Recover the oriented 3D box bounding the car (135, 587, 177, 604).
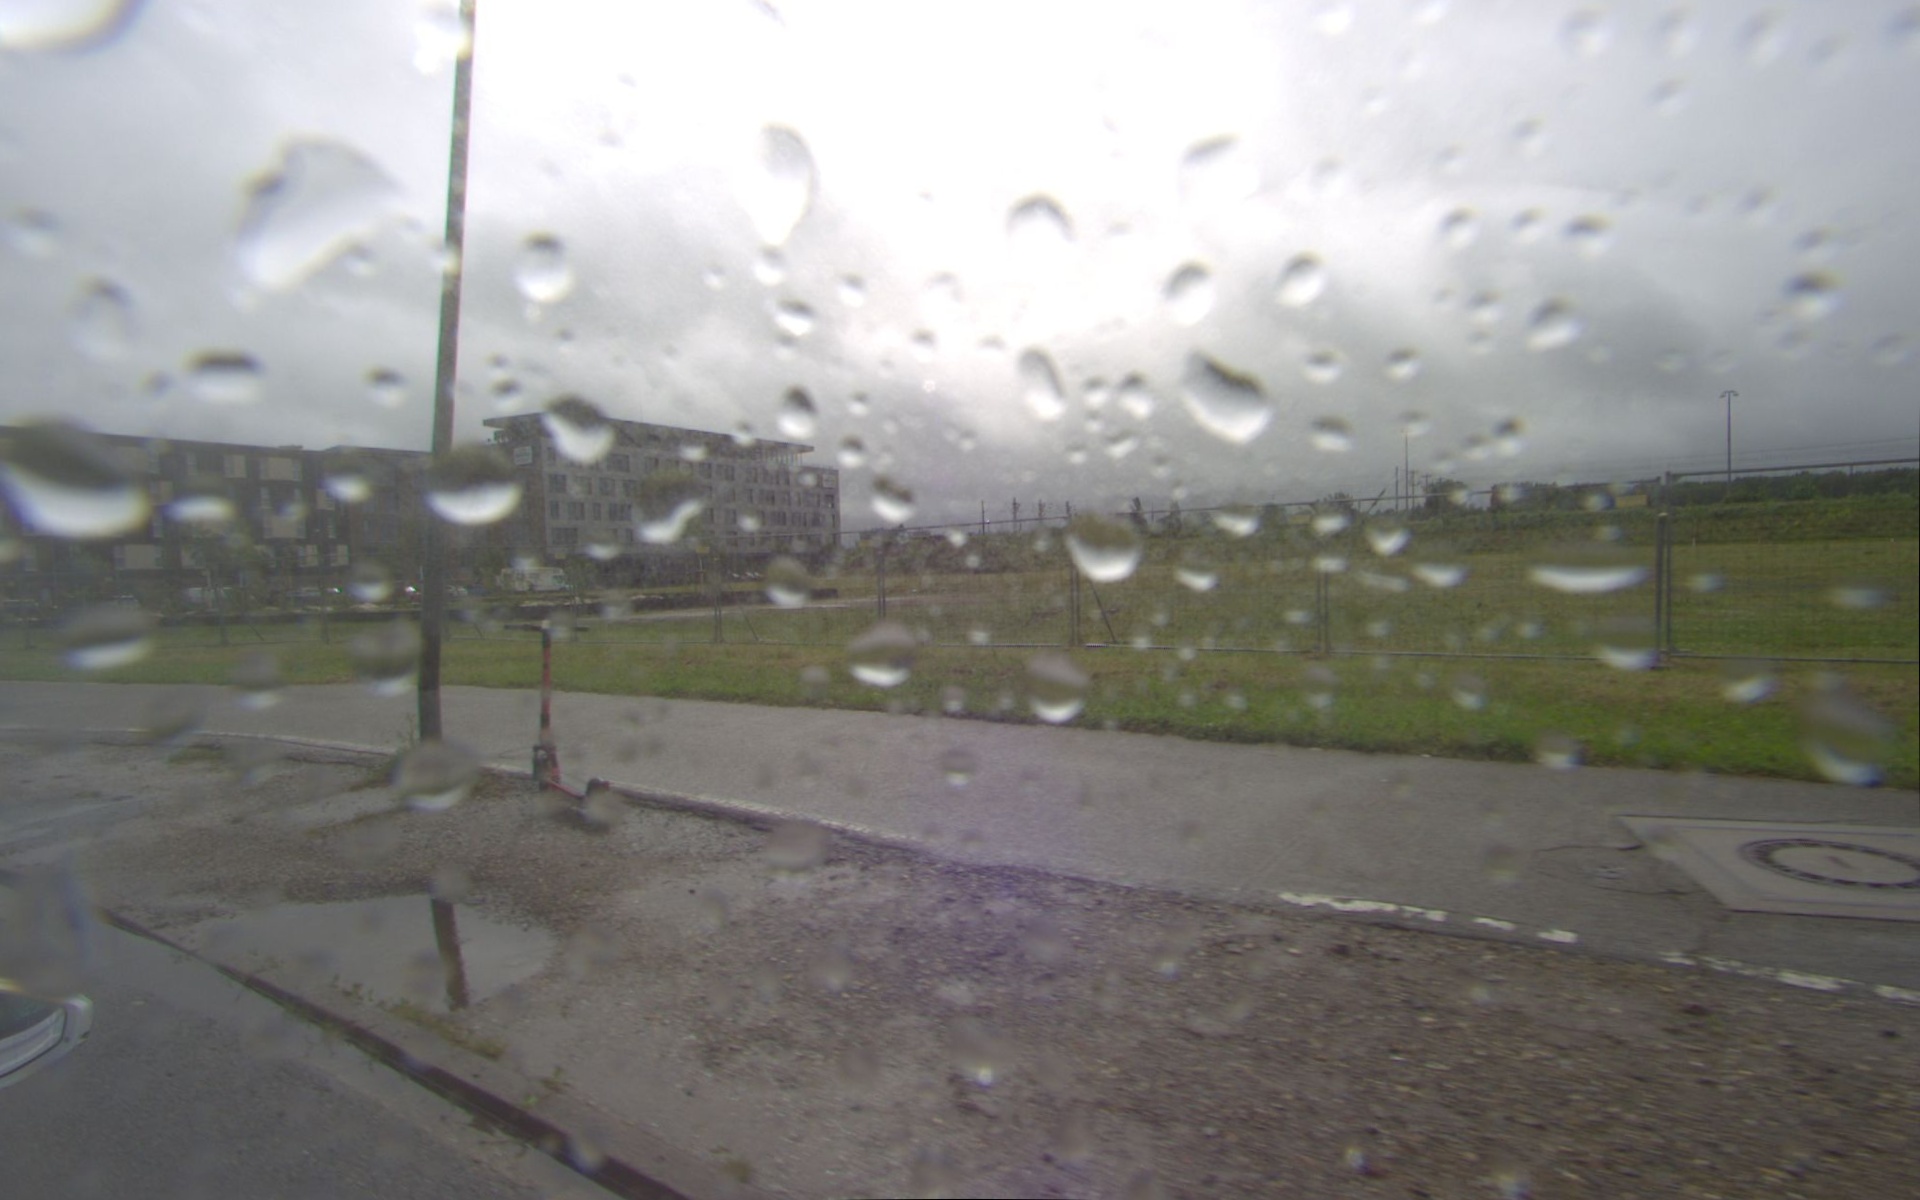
[{"bbox_3d":[-70.624,-0.379,87.965,3.726,1.415,1.635,-1,0,30],"label":"car"}]

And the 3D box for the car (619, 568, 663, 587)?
[{"bbox_3d":[-37.751,-2.655,118.669,1.972,2.040,4.784,0,0,34],"label":"car"}]

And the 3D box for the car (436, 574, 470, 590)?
[{"bbox_3d":[-56.547,-1.988,111.693,3.784,1.636,1.542,0,0,30],"label":"car"}]

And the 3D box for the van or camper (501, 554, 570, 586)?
[{"bbox_3d":[-46.234,-3.219,109.274,2.492,3.243,6.768,0,0,30],"label":"van or camper"}]

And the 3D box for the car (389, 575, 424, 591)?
[{"bbox_3d":[-59.138,-1.757,106.933,3.784,1.636,1.542,0,0,30],"label":"car"}]

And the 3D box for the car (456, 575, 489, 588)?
[{"bbox_3d":[-55.486,-2.078,113.934,3.845,1.313,1.545,0,0,30],"label":"car"}]

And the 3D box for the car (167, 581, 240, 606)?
[{"bbox_3d":[-61.785,-0.504,81.834,1.971,1.794,4.319,0,-2,31],"label":"car"}]

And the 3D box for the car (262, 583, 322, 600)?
[{"bbox_3d":[-58.887,-0.781,88.319,1.970,1.434,3.980,0,2,30],"label":"car"}]

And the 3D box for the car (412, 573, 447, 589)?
[{"bbox_3d":[-57.737,-2.013,108.982,3.784,1.636,1.542,0,0,30],"label":"car"}]

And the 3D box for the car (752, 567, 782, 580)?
[{"bbox_3d":[-28.518,-3.925,147.616,4.307,1.710,1.790,0,0,33],"label":"car"}]

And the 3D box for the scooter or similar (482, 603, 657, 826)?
[{"bbox_3d":[-2.474,0.650,6.281,1.326,1.232,0.487,1,4,45],"label":"scooter or similar"}]

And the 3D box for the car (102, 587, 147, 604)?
[{"bbox_3d":[-71.821,-0.373,86.056,3.750,1.414,1.760,0,0,30],"label":"car"}]

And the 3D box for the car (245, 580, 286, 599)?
[{"bbox_3d":[-65.610,-0.975,94.596,3.784,1.636,1.778,0,0,30],"label":"car"}]
